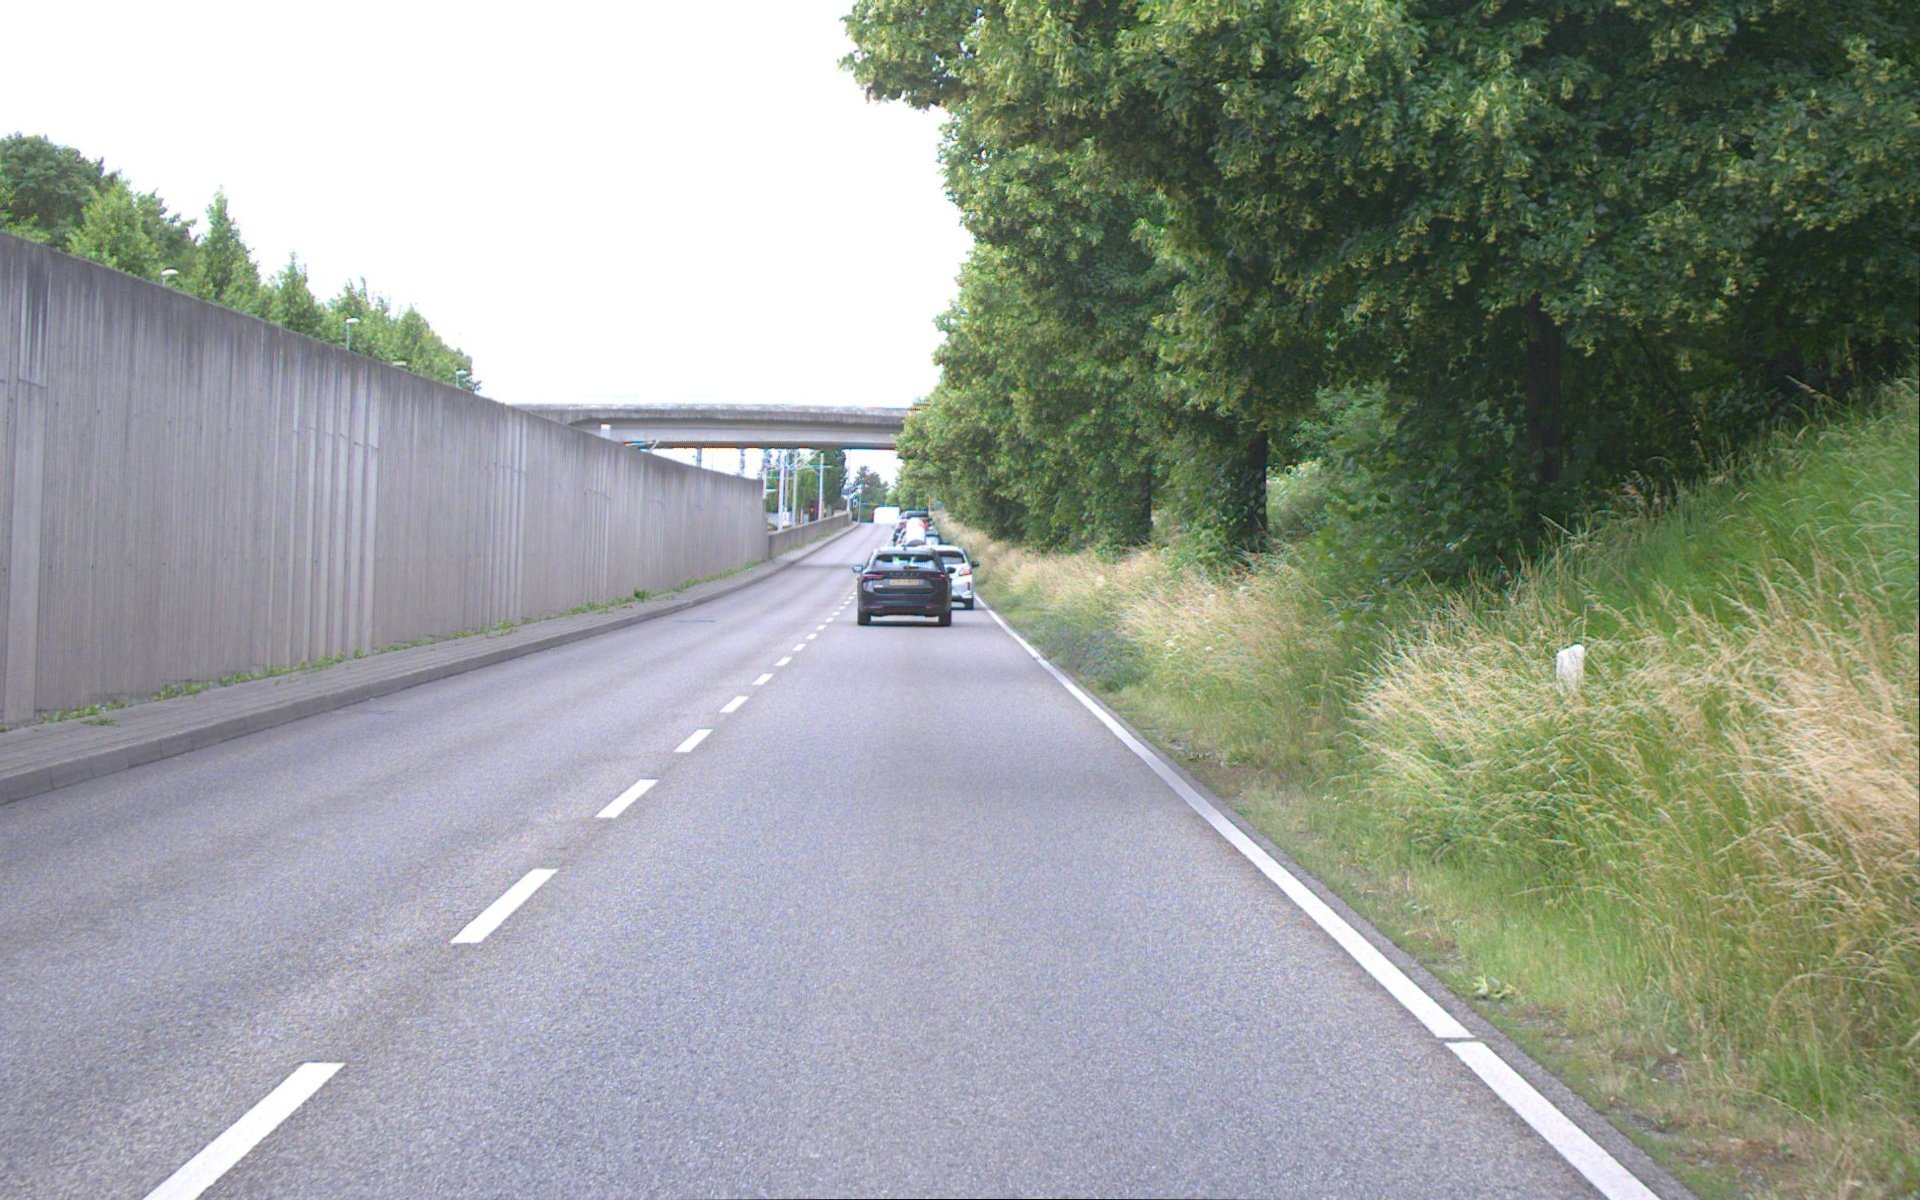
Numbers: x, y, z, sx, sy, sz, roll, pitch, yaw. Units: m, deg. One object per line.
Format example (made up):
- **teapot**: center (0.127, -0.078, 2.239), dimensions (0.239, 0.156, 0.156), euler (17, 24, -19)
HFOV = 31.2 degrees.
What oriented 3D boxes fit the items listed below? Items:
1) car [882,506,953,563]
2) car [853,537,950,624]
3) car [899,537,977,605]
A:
- **car**: center (-1.255, -1.891, 99.555), dimensions (1.866, 1.485, 4.257), euler (4, 1, -2)
- **car**: center (-1.109, -0.346, 64.907), dimensions (1.754, 1.518, 4.036), euler (1, -1, -1)
- **car**: center (-0.532, -0.663, 80.087), dimensions (1.754, 1.518, 4.037), euler (-1, 0, -1)
